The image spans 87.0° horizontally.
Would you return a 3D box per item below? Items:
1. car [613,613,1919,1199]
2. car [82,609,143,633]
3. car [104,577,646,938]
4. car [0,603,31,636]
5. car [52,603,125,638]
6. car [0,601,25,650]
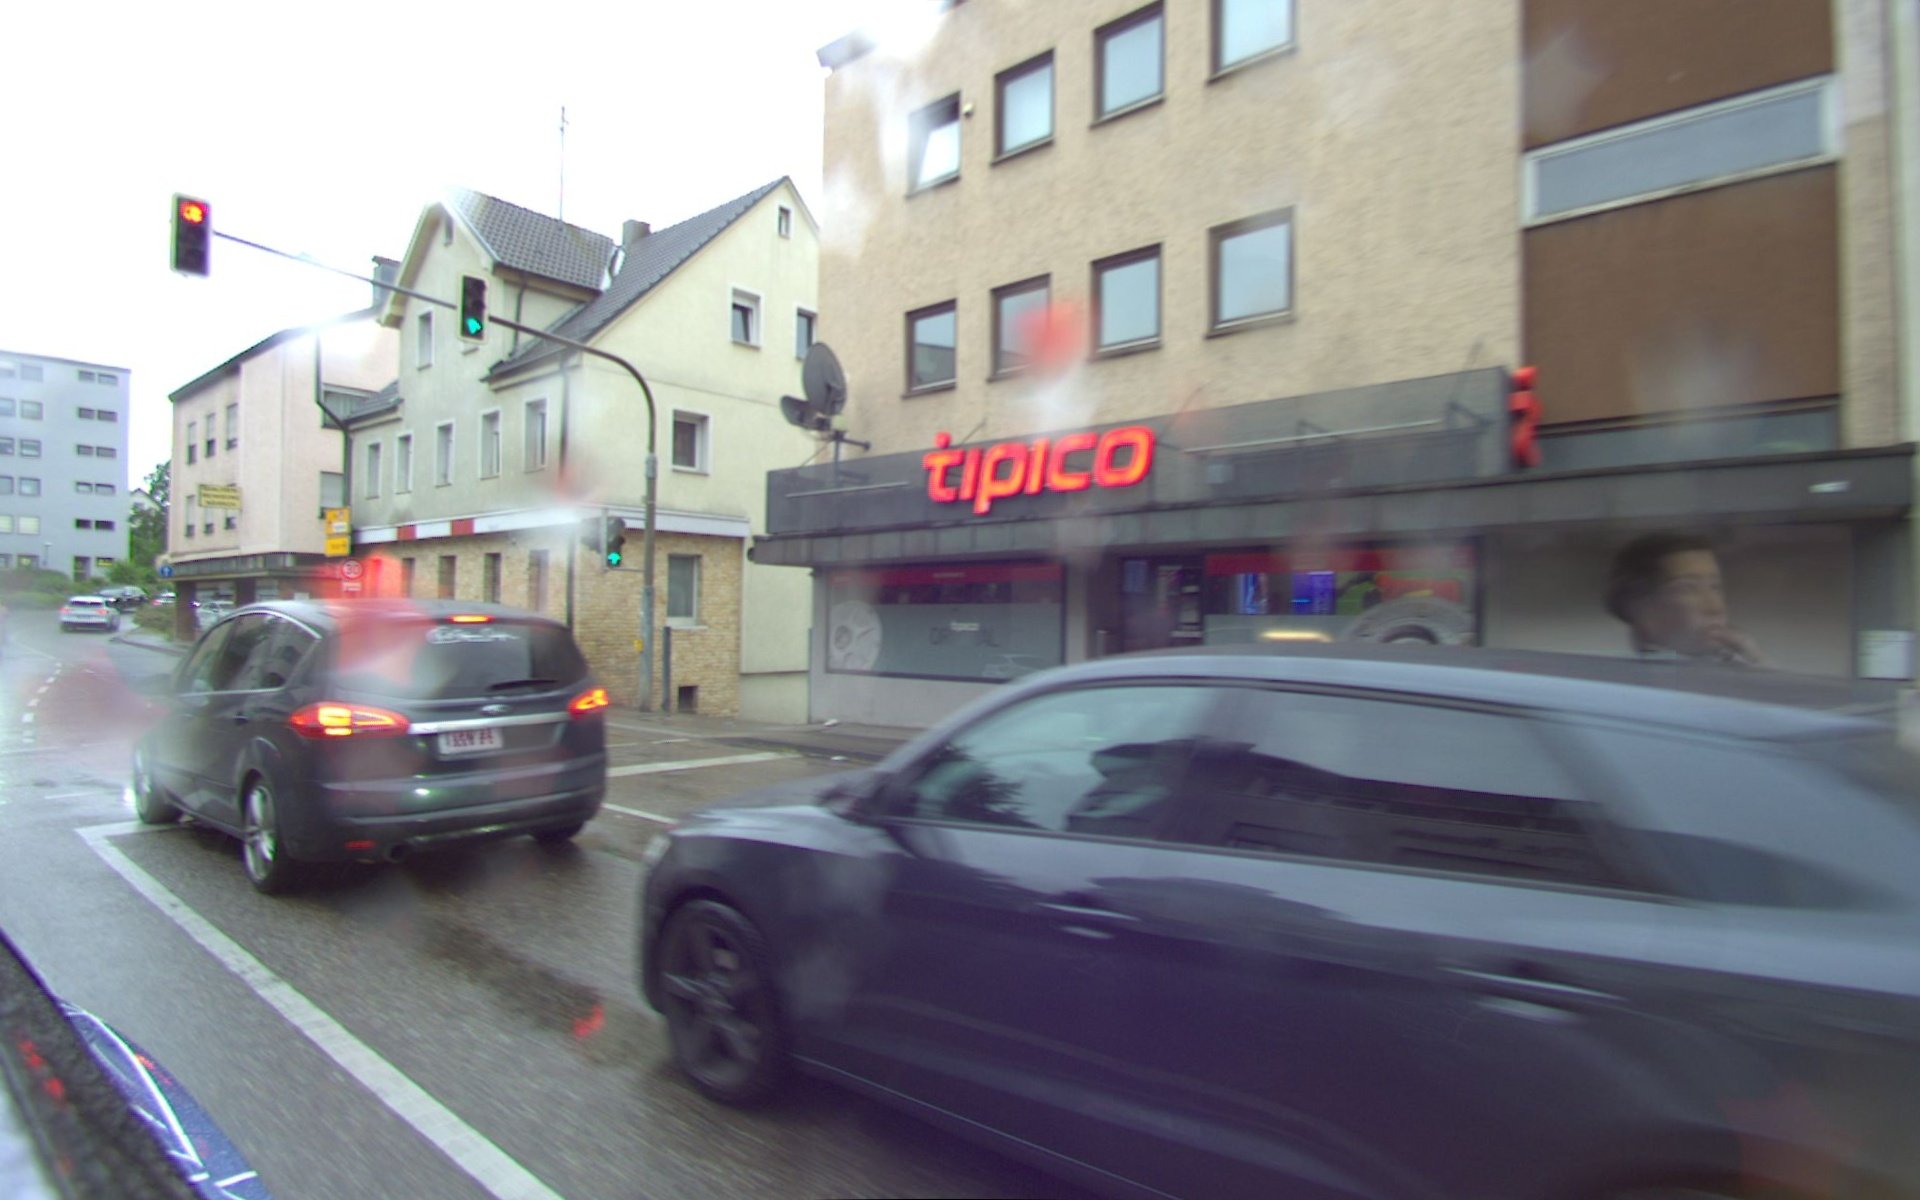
[{"bbox_3d":[0.846,0.752,2.733,3.665,1.394,1.690,-1,-2,39],"label":"car"},{"bbox_3d":[-52.894,1.312,63.227,1.658,1.472,4.013,1,-2,-21],"label":"car"},{"bbox_3d":[-4.081,0.795,6.749,4.272,1.657,1.797,-2,-2,40],"label":"car"},{"bbox_3d":[-43.596,0.902,45.511,1.658,1.432,4.013,1,-2,-27],"label":"car"},{"bbox_3d":[-41.568,0.952,48.364,1.929,1.547,4.012,0,0,-30],"label":"car"},{"bbox_3d":[-35.014,0.920,36.257,1.968,1.674,4.007,0,-1,-39],"label":"car"}]
